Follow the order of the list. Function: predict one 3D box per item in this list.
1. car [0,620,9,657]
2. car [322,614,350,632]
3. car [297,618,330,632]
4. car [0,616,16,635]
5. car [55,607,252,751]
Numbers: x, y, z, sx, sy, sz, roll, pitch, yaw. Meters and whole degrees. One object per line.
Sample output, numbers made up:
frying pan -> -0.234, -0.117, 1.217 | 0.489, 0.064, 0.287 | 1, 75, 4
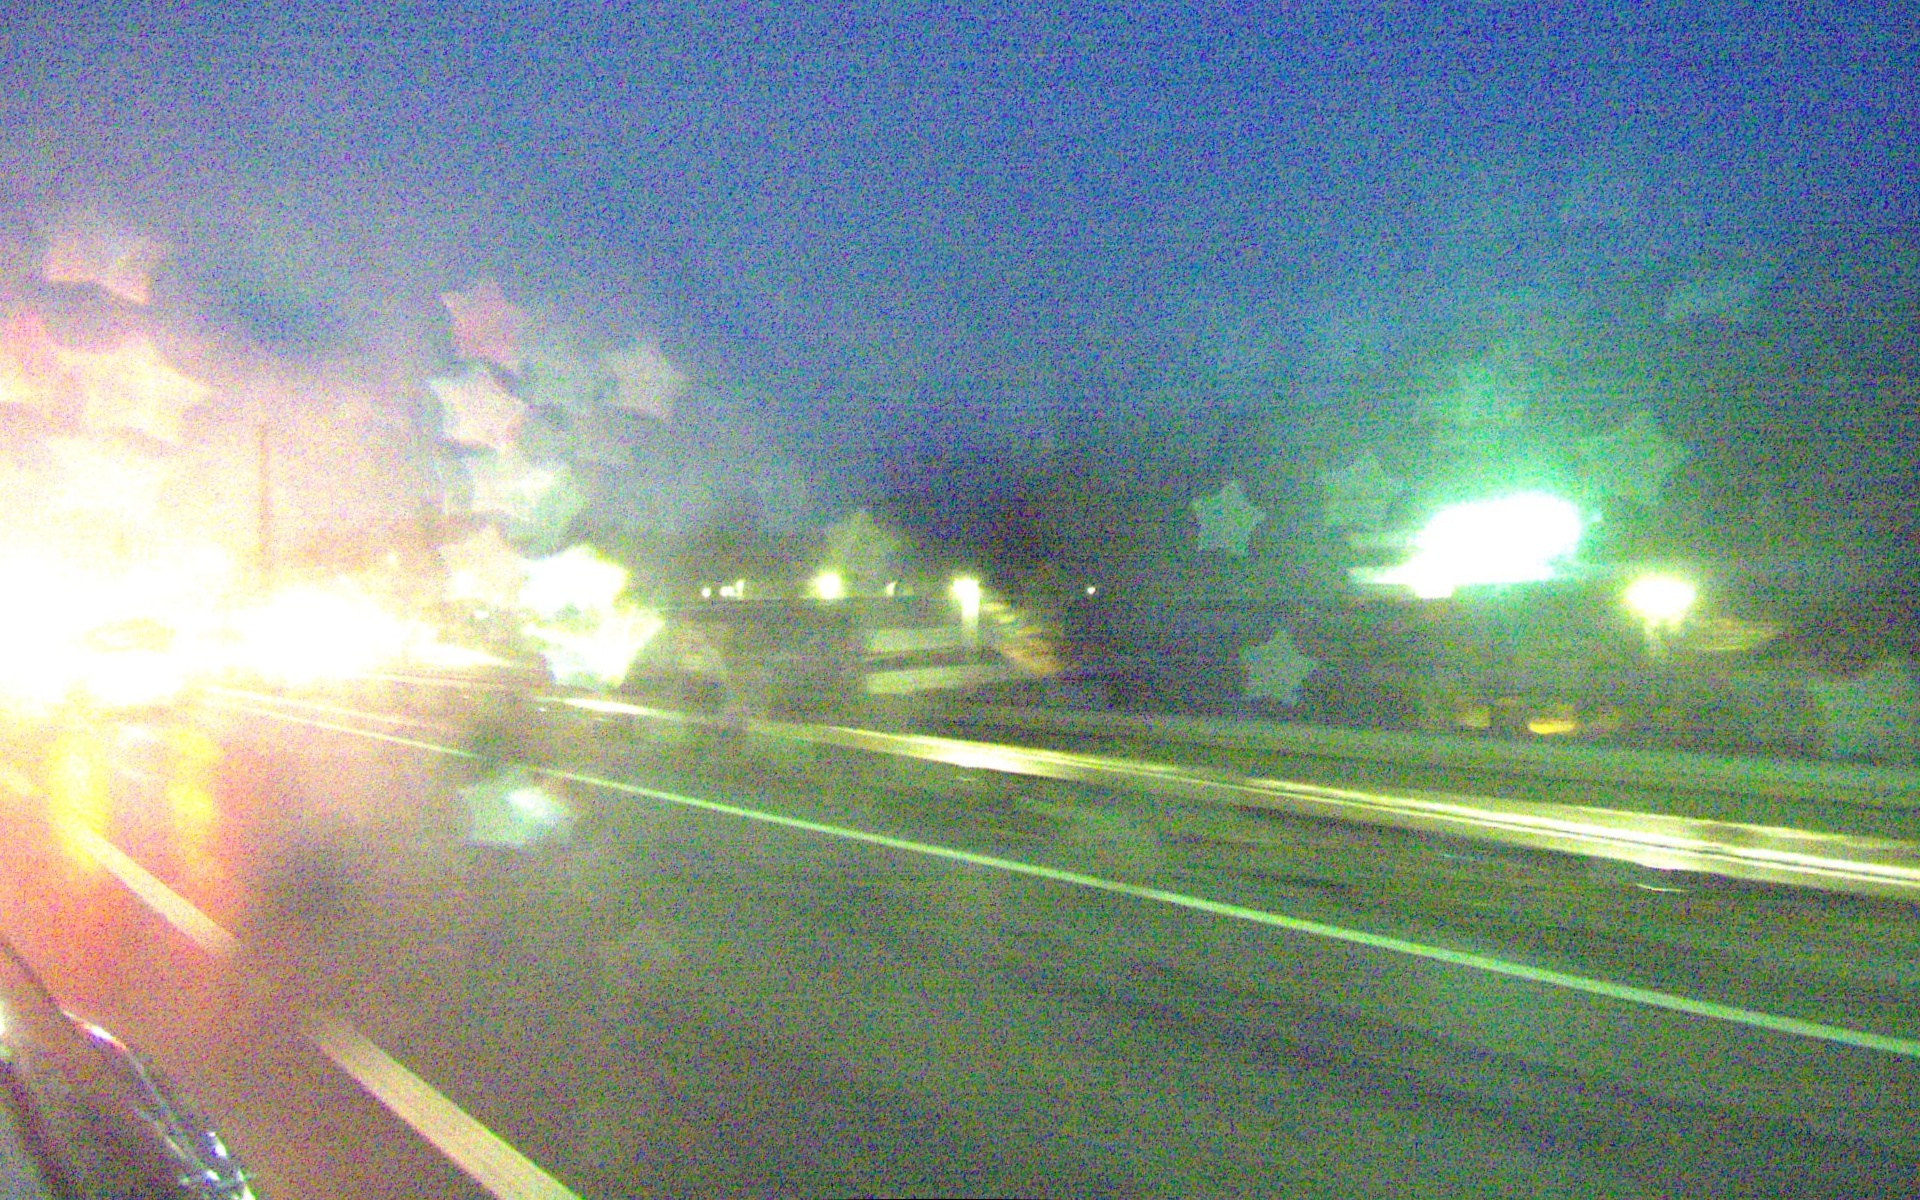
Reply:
car -> -41.774, 1.658, 42.956 | 3.860, 1.531, 1.675 | -1, -1, 41
car -> -81.824, 3.000, 132.608 | 1.970, 2.325, 6.027 | 0, -1, -43
car -> -87.731, 3.393, 137.267 | 4.428, 1.706, 1.834 | -1, -1, 28
car -> -72.950, 1.939, 76.837 | 1.782, 1.393, 4.777 | 0, -1, -42
car -> -10.973, 0.976, 13.687 | 3.559, 1.628, 1.468 | -2, 1, 42
